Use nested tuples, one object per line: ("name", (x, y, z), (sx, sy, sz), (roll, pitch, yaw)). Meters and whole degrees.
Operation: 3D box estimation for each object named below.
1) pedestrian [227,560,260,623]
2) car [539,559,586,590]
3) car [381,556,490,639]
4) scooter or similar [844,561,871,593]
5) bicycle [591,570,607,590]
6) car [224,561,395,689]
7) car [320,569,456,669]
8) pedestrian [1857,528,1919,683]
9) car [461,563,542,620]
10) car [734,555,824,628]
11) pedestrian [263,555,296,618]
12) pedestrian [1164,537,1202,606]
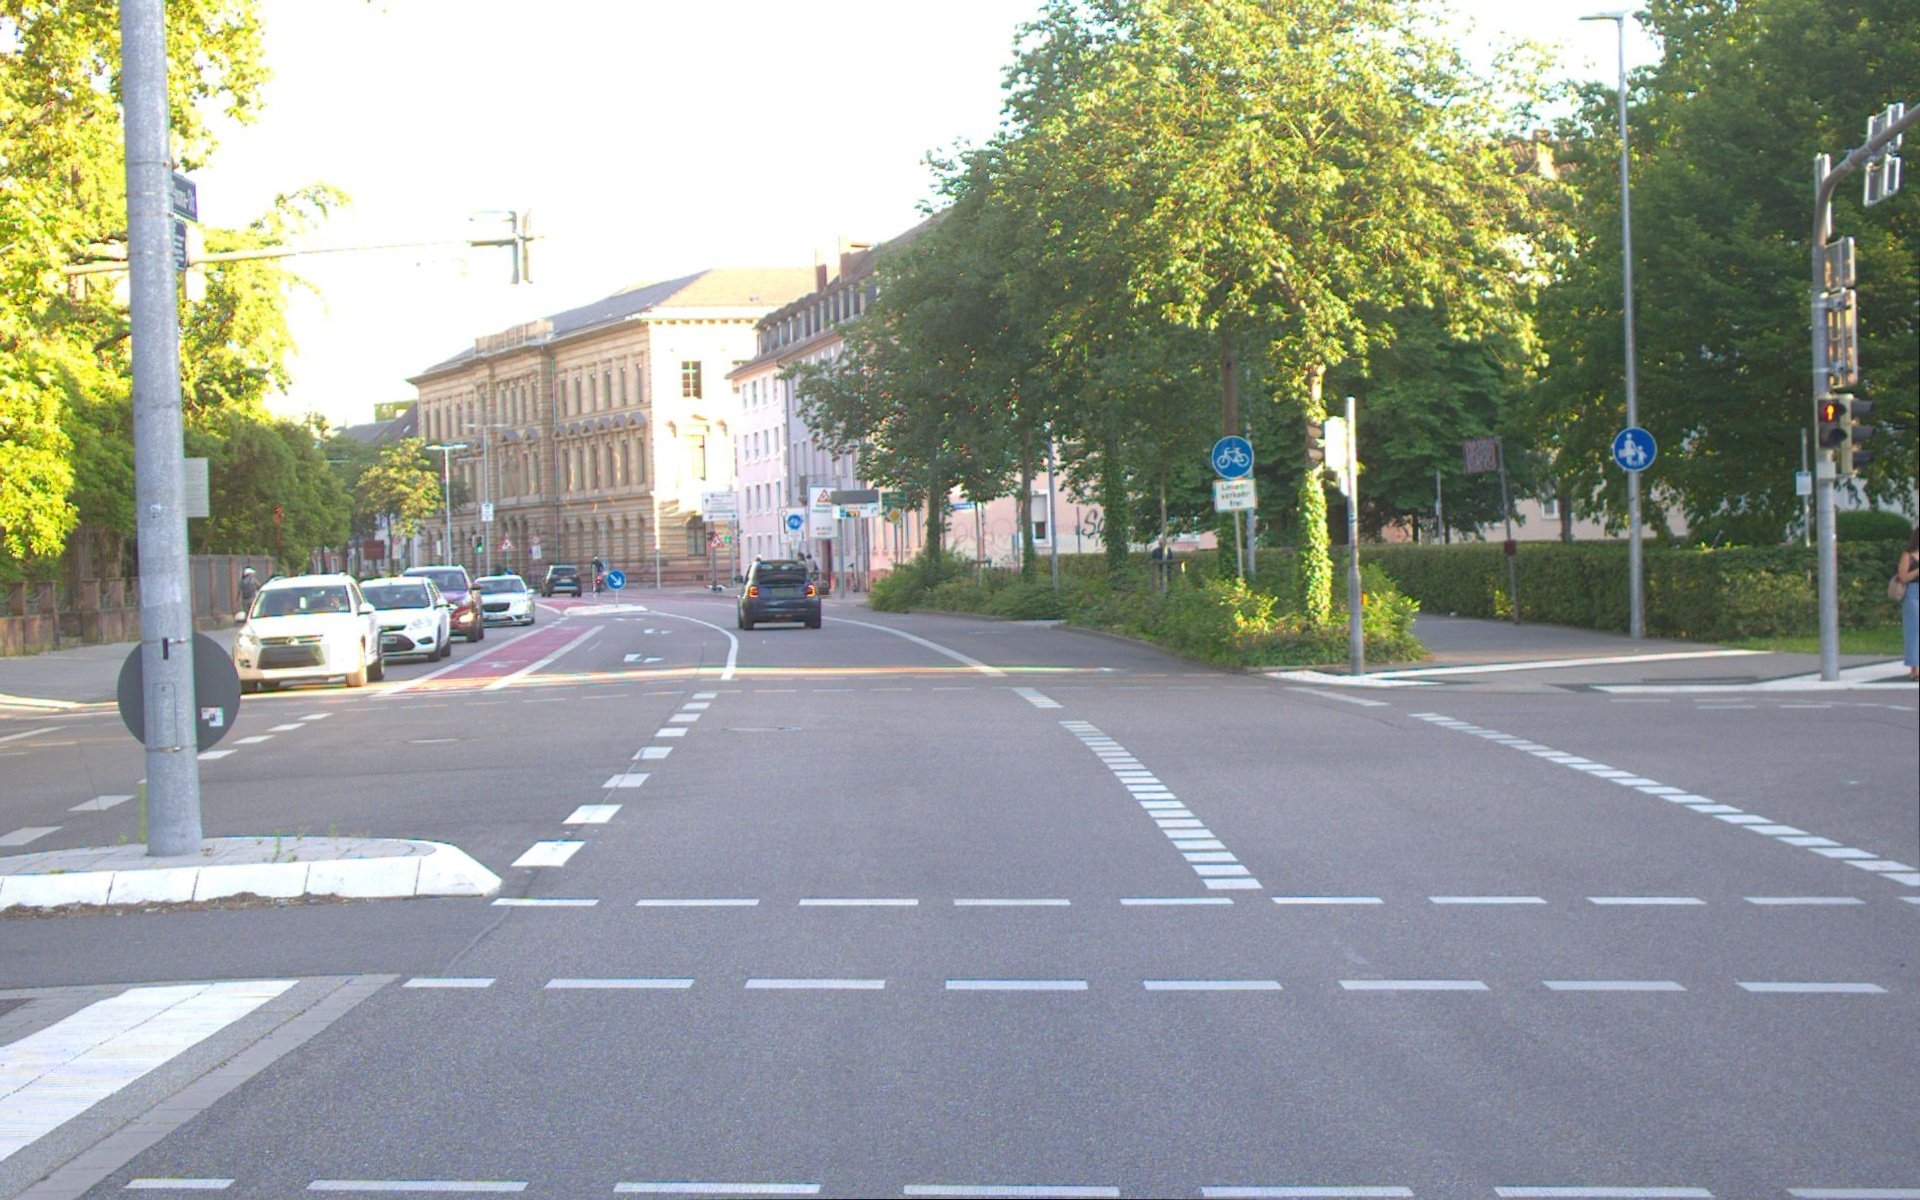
("pedestrian", (-18.624, -0.230, 89.355), (0.681, 1.617, 0.688), (-2, 1, -1))
("car", (-19.792, -1.285, 171.001), (1.916, 1.413, 4.771), (-4, 1, -10))
("car", (-11.282, -0.084, 74.266), (1.916, 1.619, 4.640), (-3, 1, -5))
("scooter or similar", (-4.329, -0.990, 145.352), (0.629, 1.332, 2.401), (-1, 1, -14))
("bicycle", (-18.727, -1.044, 178.560), (0.652, 1.012, 2.198), (1, 1, -10))
("car", (-9.531, 0.323, 50.675), (1.916, 1.690, 4.427), (-3, 1, -5))
("car", (-10.188, 0.304, 61.521), (1.916, 1.578, 4.675), (-3, 1, -5))
("pedestrian", (10.091, 0.046, 36.860), (0.681, 1.616, 0.845), (-2, 1, -1))
("car", (-12.741, -0.260, 95.805), (1.916, 1.413, 4.771), (-3, 1, -5))
("car", (-4.005, -0.216, 75.435), (1.867, 1.504, 4.001), (-2, 1, -4))
("pedestrian", (-17.646, -0.359, 89.192), (0.681, 1.617, 0.688), (-2, 1, -1))
("pedestrian", (5.732, -0.736, 88.325), (0.769, 1.733, 0.807), (-2, 1, -10))
